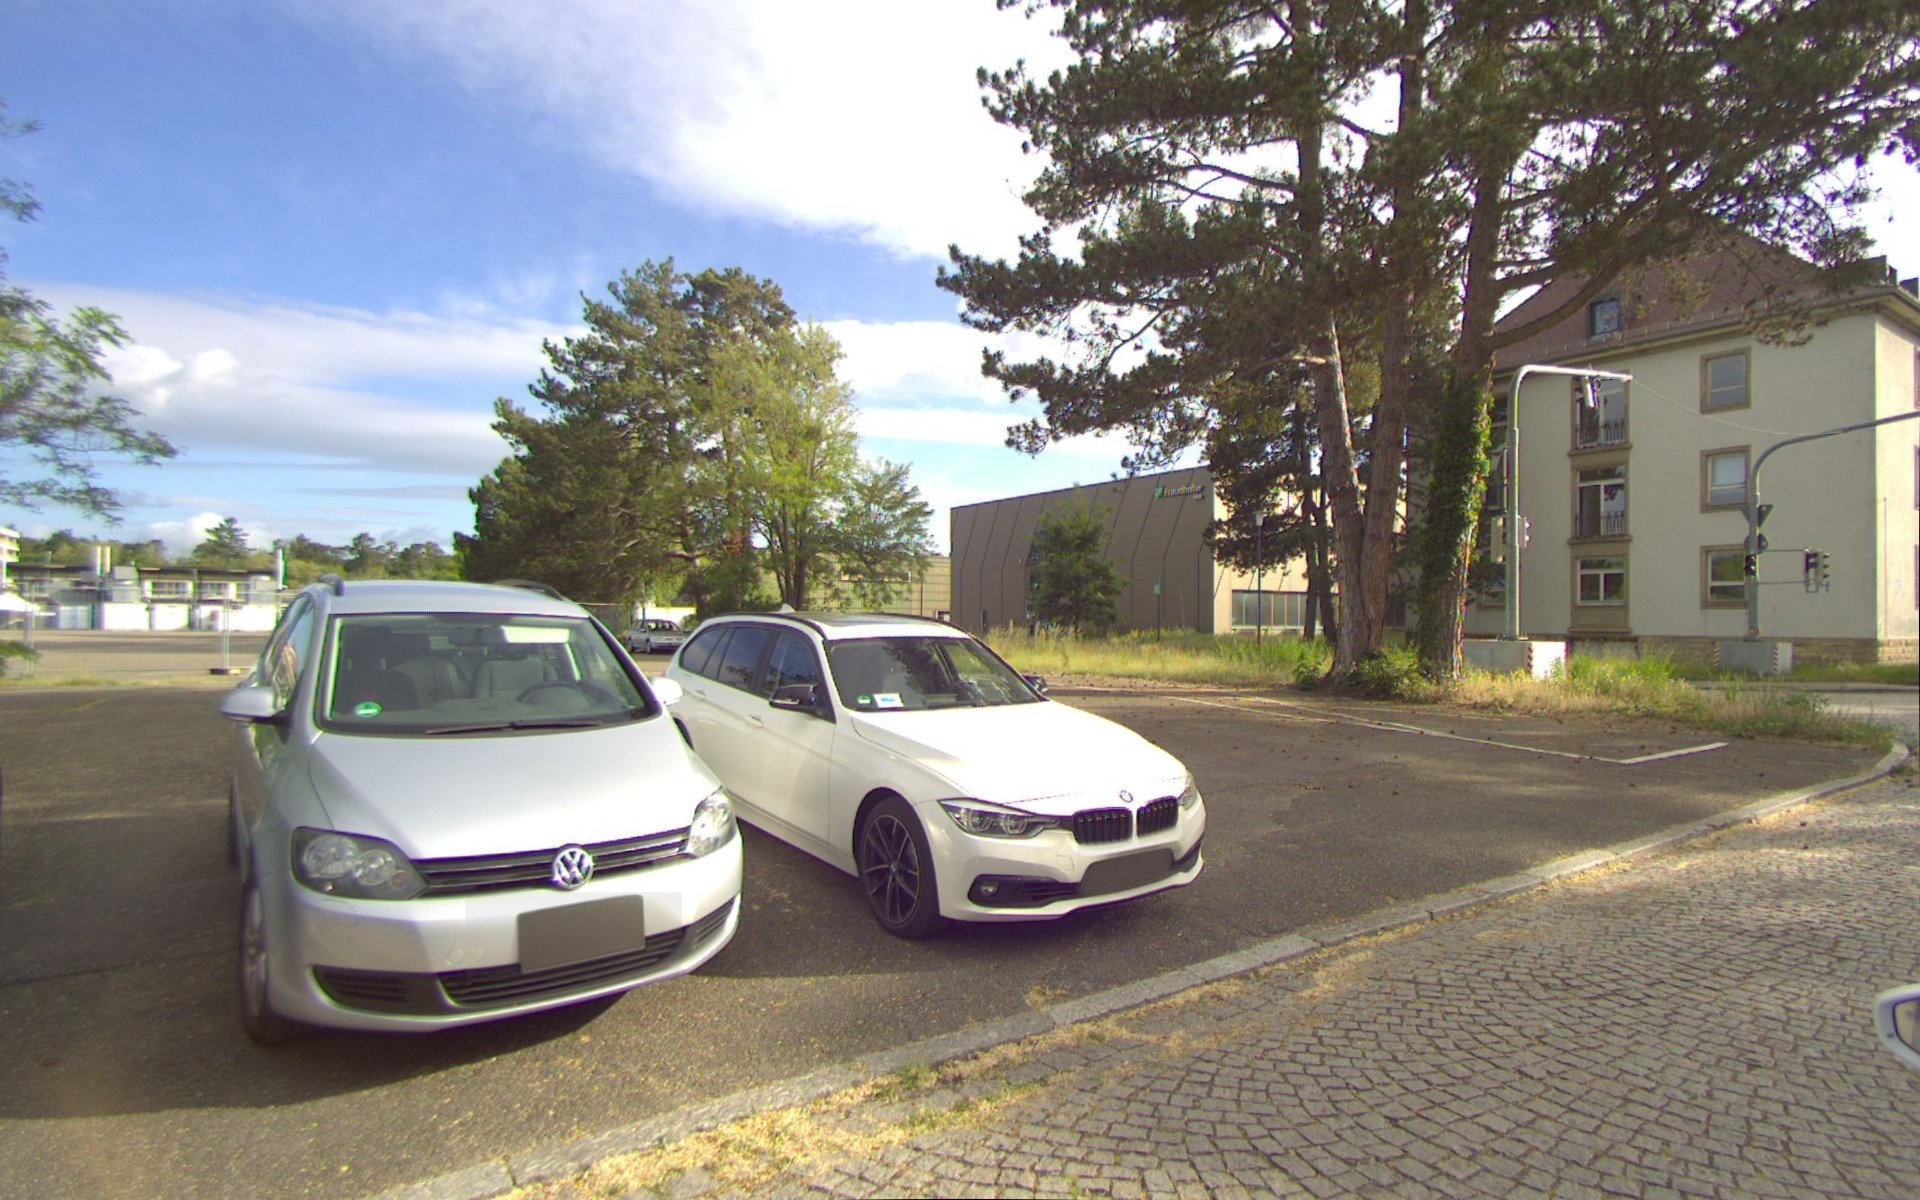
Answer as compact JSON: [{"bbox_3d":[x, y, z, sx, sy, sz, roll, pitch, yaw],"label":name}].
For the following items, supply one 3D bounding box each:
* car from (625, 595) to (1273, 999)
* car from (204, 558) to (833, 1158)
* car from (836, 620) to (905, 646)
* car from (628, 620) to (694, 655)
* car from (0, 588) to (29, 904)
[{"bbox_3d":[-0.490,0.788,6.465,1.885,1.475,4.554,0,3,-36],"label":"car"},{"bbox_3d":[-2.499,0.668,4.945,1.843,1.621,4.088,2,1,-38],"label":"car"},{"bbox_3d":[-5.812,2.163,65.376,4.118,1.580,1.790,2,-1,-37],"label":"car"},{"bbox_3d":[-12.823,1.573,42.883,1.647,1.400,3.964,2,-1,-33],"label":"car"},{"bbox_3d":[-4.383,0.717,2.958,1.840,1.448,3.803,2,1,-35],"label":"car"}]
